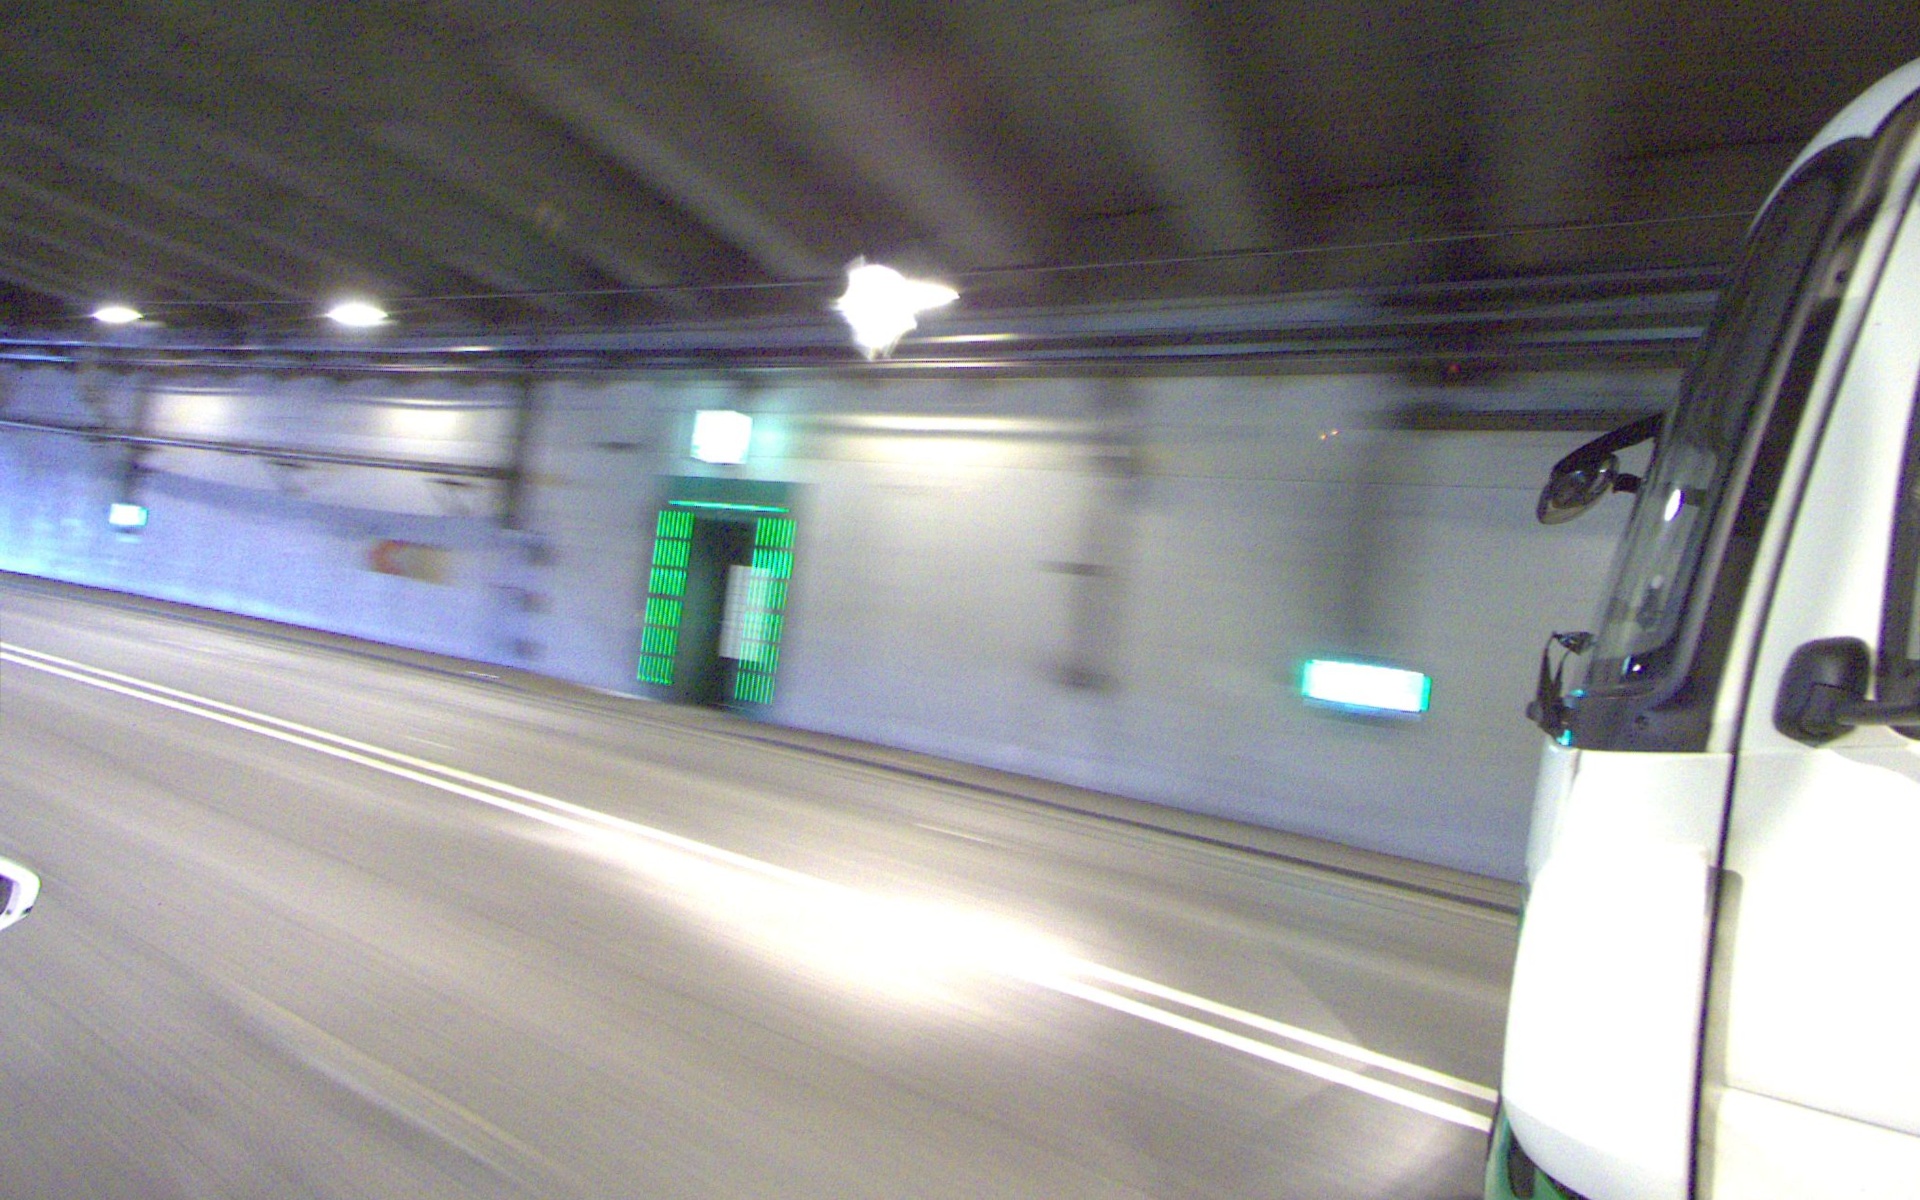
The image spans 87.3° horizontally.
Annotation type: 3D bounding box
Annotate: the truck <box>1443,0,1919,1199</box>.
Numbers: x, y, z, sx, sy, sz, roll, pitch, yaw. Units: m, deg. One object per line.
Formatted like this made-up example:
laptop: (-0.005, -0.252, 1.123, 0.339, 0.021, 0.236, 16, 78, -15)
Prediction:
truck: (4.337, 0.453, 0.351, 7.128, 3.218, 2.557, 7, -1, 34)
